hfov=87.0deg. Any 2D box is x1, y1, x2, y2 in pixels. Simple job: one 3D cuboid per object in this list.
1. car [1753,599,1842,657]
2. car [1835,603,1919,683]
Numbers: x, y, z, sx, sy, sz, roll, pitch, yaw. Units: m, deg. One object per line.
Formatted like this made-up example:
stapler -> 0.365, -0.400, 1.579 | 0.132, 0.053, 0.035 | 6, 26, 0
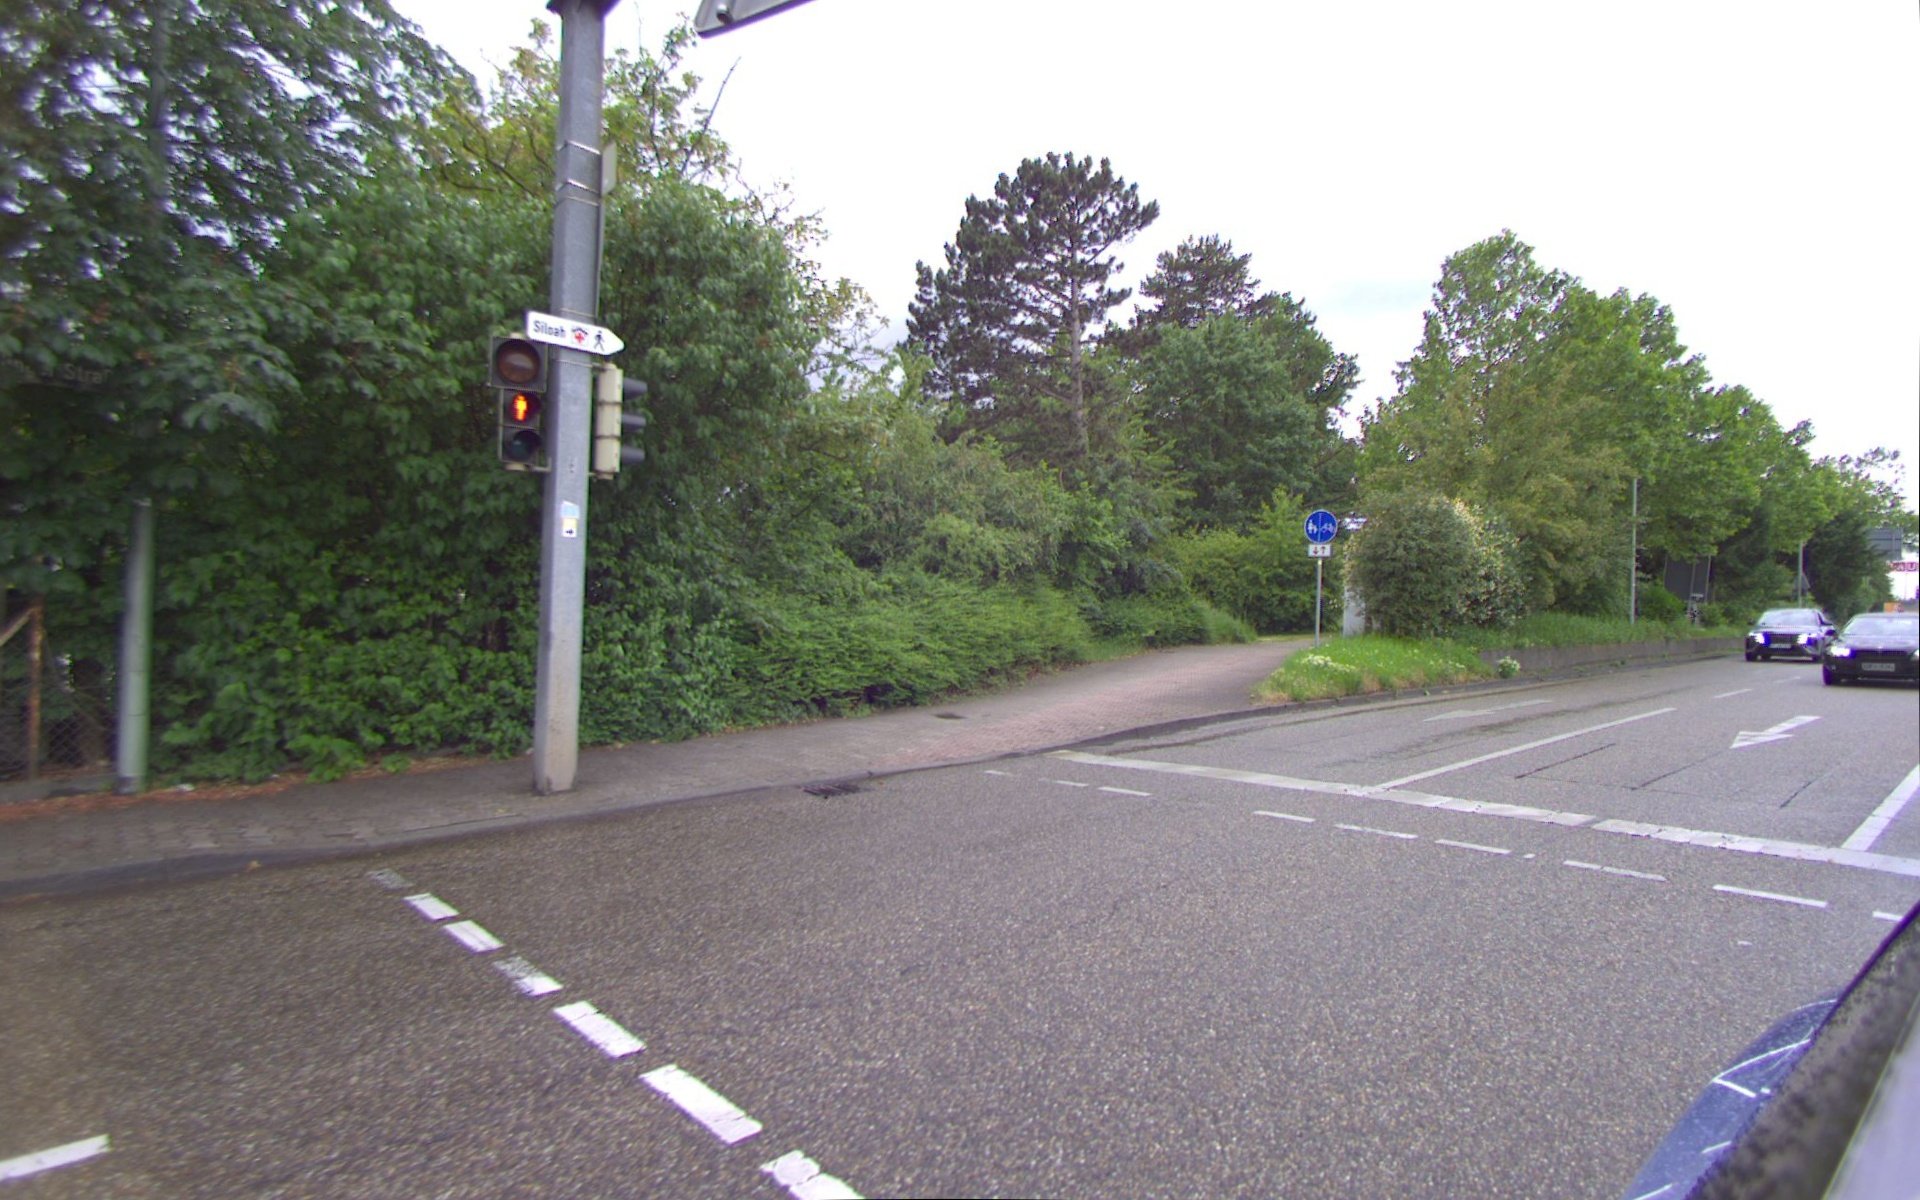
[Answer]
car -> 26.003, 0.825, 31.387 | 3.779, 1.642, 1.702 | -1, -1, -44
car -> 19.523, 0.811, 20.844 | 4.640, 1.478, 1.792 | 0, 0, -43
